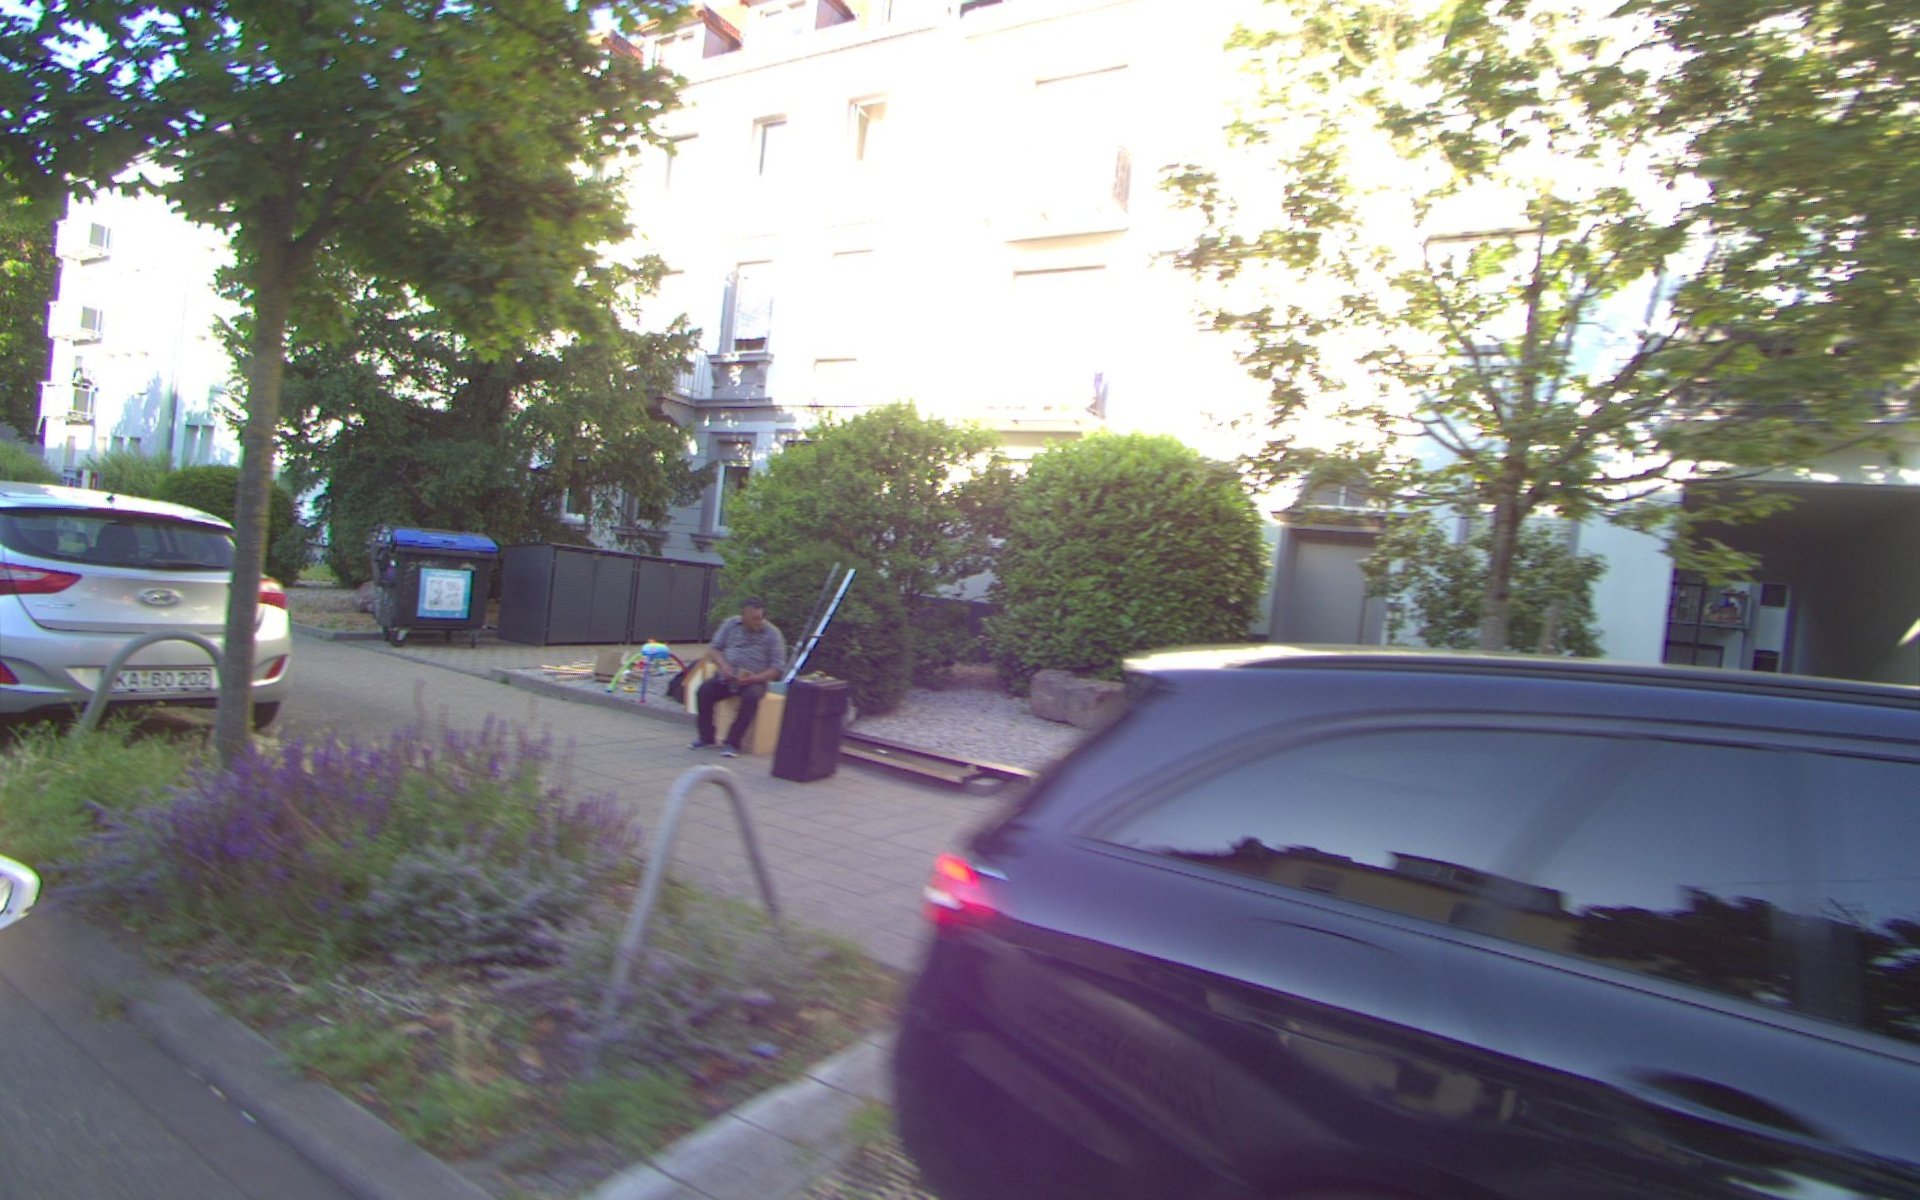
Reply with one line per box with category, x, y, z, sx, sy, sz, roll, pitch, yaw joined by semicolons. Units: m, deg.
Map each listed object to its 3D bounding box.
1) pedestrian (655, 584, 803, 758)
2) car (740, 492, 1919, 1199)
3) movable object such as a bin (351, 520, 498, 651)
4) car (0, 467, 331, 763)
pedestrian;-1.841;0.555;8.044;0.777;1.249;0.674;6;0;32
car;2.080;0.850;1.538;4.742;1.601;1.875;7;1;33
movable object such as a bin;-6.800;-0.180;12.783;1.123;1.512;1.264;7;3;41
car;-6.377;-0.082;6.815;4.320;1.513;1.720;7;0;31
